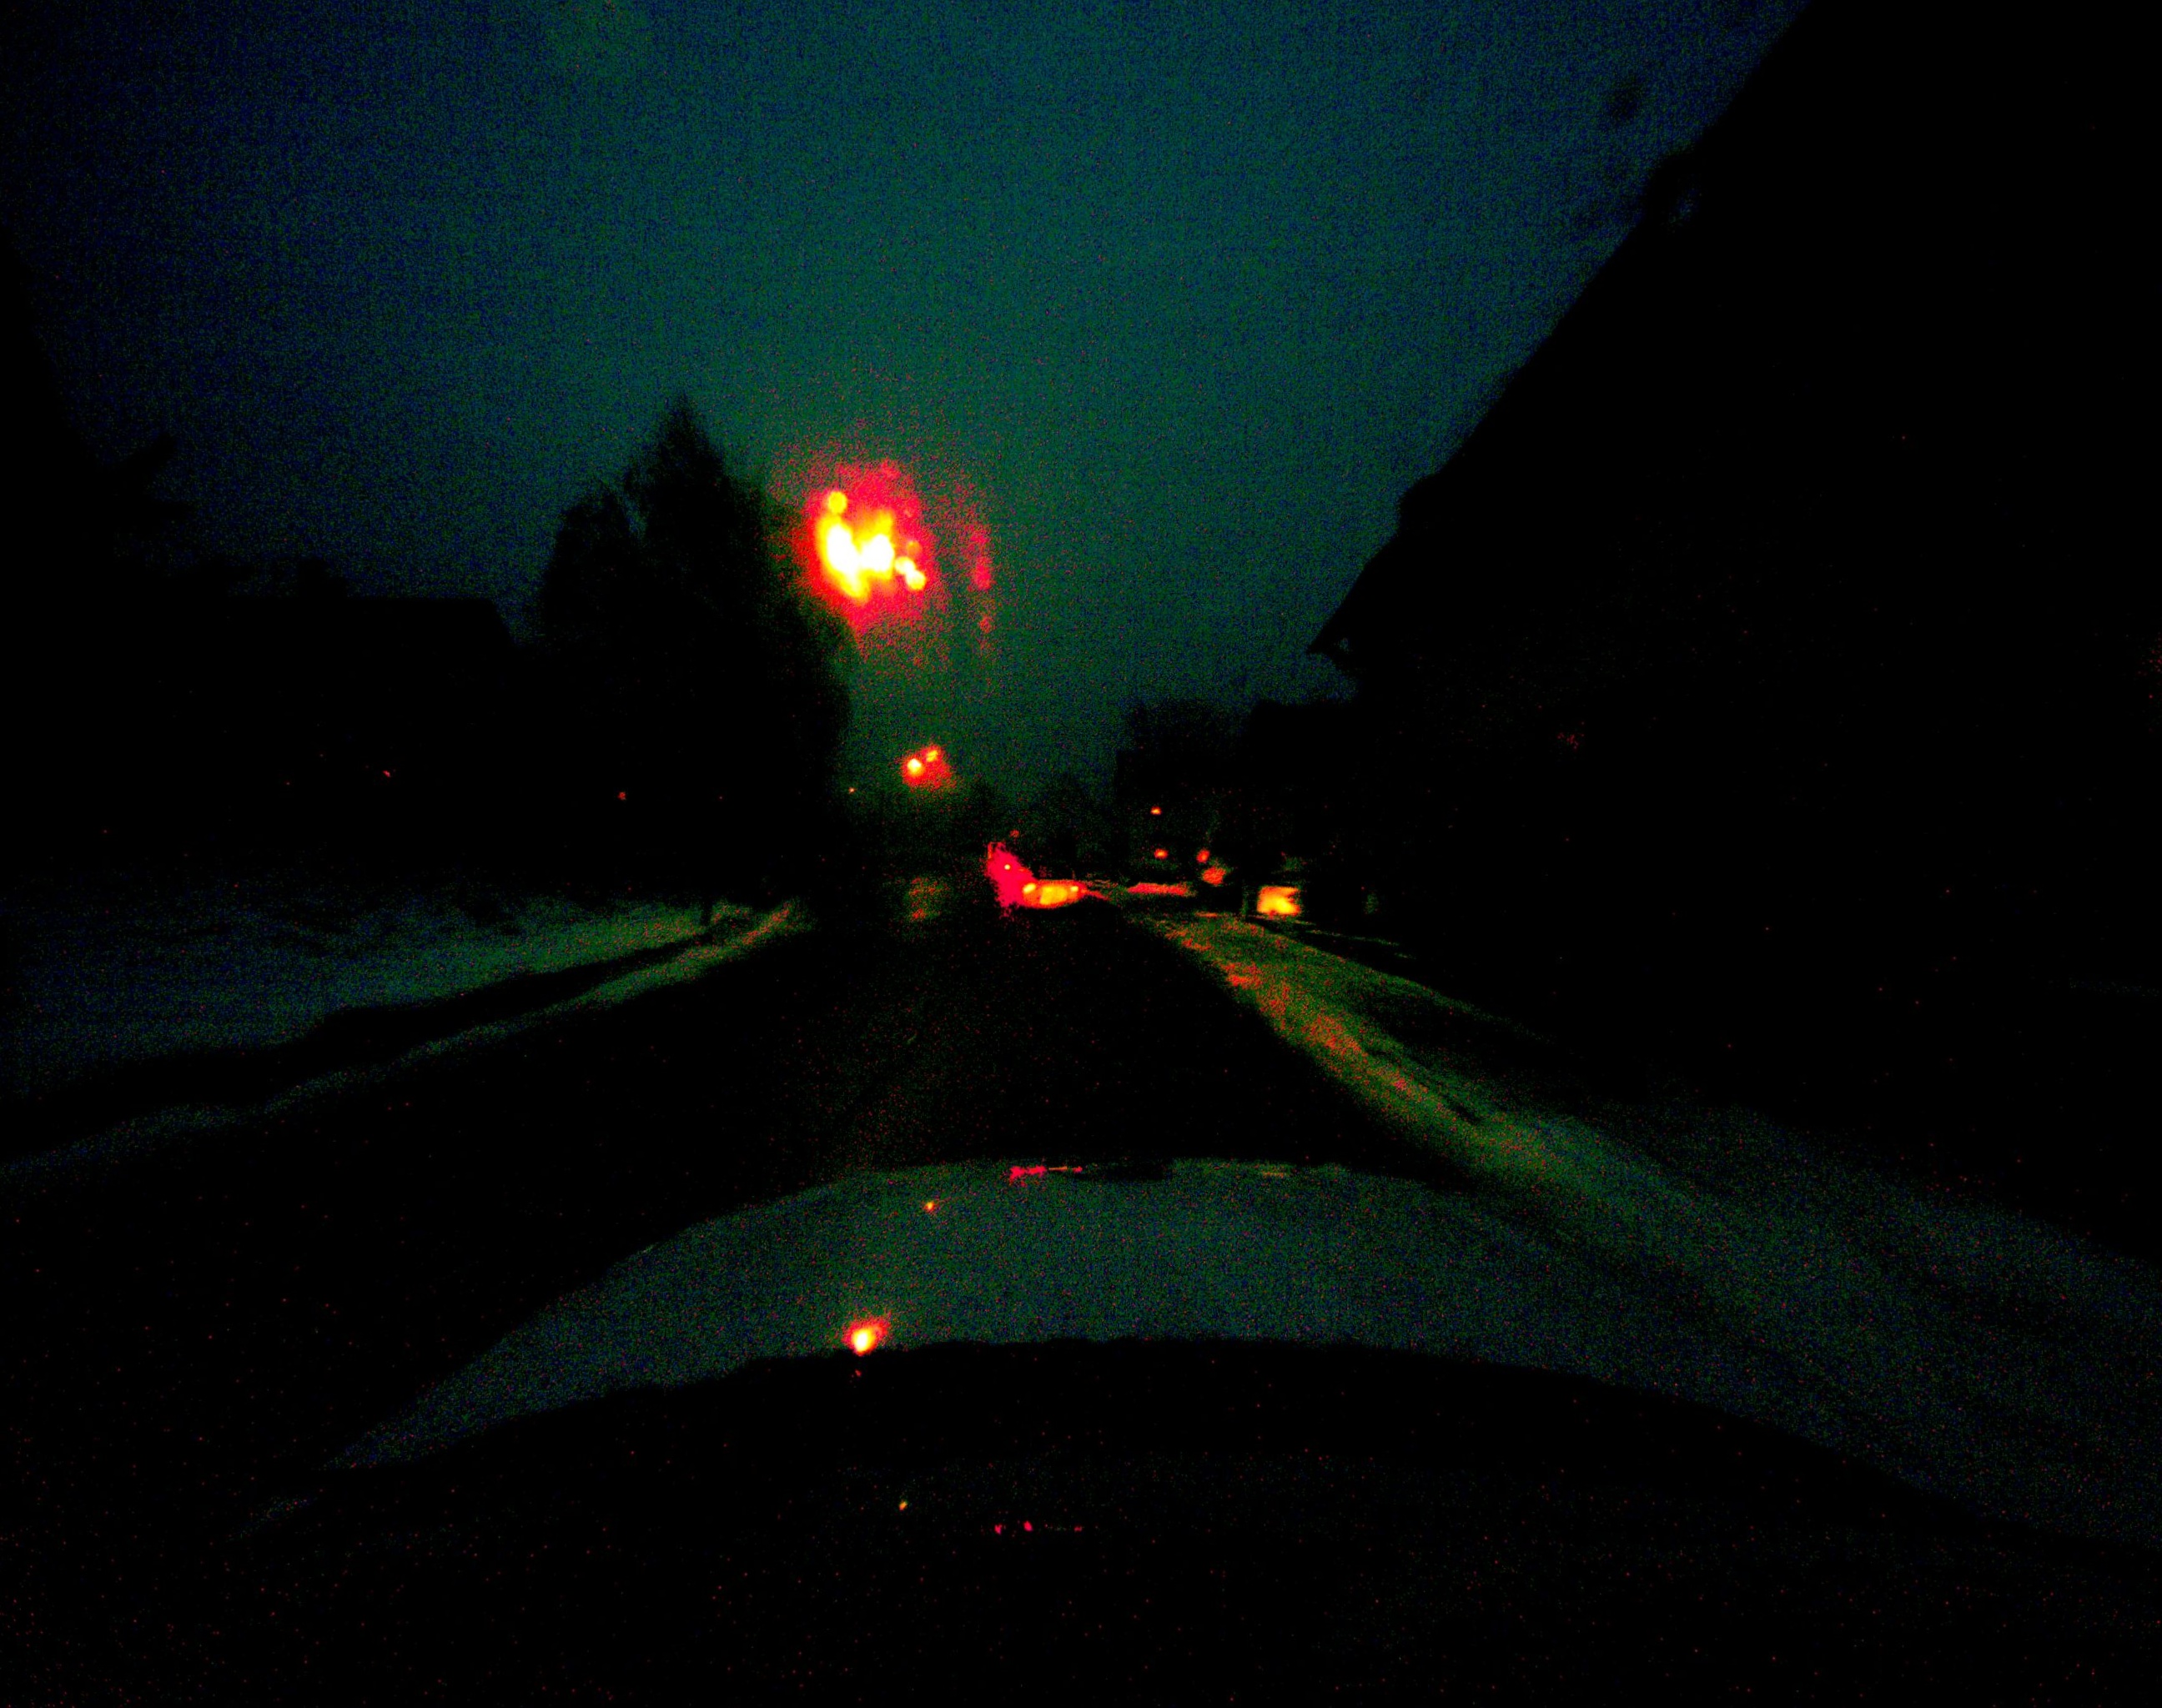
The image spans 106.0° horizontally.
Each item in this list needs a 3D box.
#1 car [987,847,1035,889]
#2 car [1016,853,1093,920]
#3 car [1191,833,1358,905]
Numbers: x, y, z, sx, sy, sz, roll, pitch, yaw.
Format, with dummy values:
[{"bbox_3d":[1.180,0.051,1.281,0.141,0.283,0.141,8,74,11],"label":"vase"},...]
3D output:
[{"bbox_3d":[-3.084,0.630,36.502,1.989,1.737,3.874,-1,-1,-3],"label":"car"},{"bbox_3d":[-0.840,0.840,23.058,1.894,1.609,3.994,4,0,-5],"label":"car"},{"bbox_3d":[5.220,0.407,22.413,4.188,1.858,1.913,-1,-1,3],"label":"car"}]
